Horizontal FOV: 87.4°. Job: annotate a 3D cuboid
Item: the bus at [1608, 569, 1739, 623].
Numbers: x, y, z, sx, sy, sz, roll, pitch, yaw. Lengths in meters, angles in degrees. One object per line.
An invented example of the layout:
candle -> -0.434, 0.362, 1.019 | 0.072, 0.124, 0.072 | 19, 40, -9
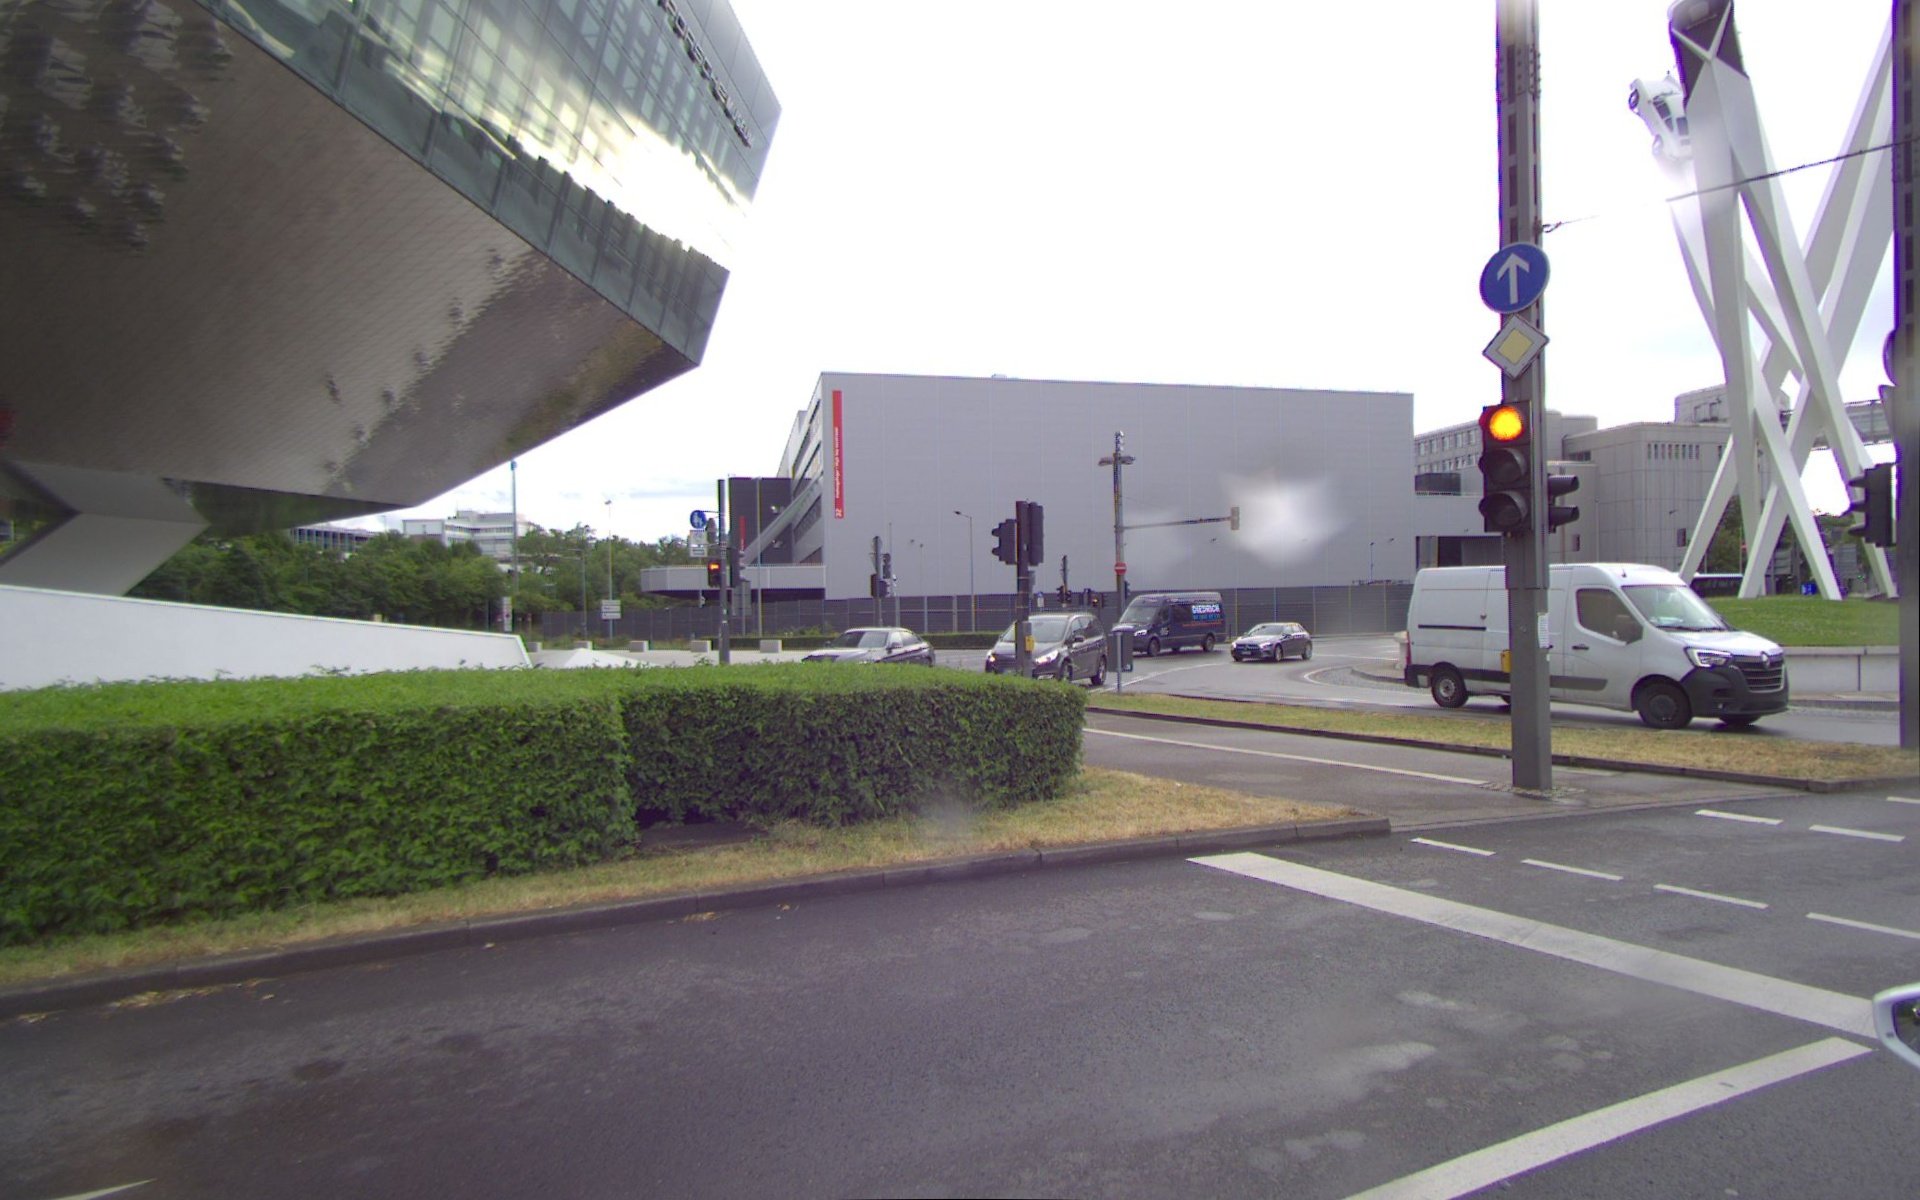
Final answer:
bus -> 46.244, -0.141, 64.867 | 12.536, 3.243, 2.653 | 1, 0, -34

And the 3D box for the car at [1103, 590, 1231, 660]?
car -> 9.219, 1.077, 44.189 | 7.081, 2.858, 1.947 | 1, -1, -45

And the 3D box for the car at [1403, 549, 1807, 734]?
car -> 10.064, 0.610, 16.345 | 1.971, 2.479, 5.398 | 0, -1, -22

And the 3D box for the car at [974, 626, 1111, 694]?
car -> 2.043, 1.316, 23.394 | 1.804, 1.356, 4.483 | 0, -1, 24

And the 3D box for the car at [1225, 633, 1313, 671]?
car -> 12.022, 1.983, 38.927 | 1.622, 1.356, 4.048 | 0, -1, 44

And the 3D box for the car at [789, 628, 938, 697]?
car -> -2.060, 1.335, 22.773 | 1.803, 1.356, 4.248 | 0, -1, 18
